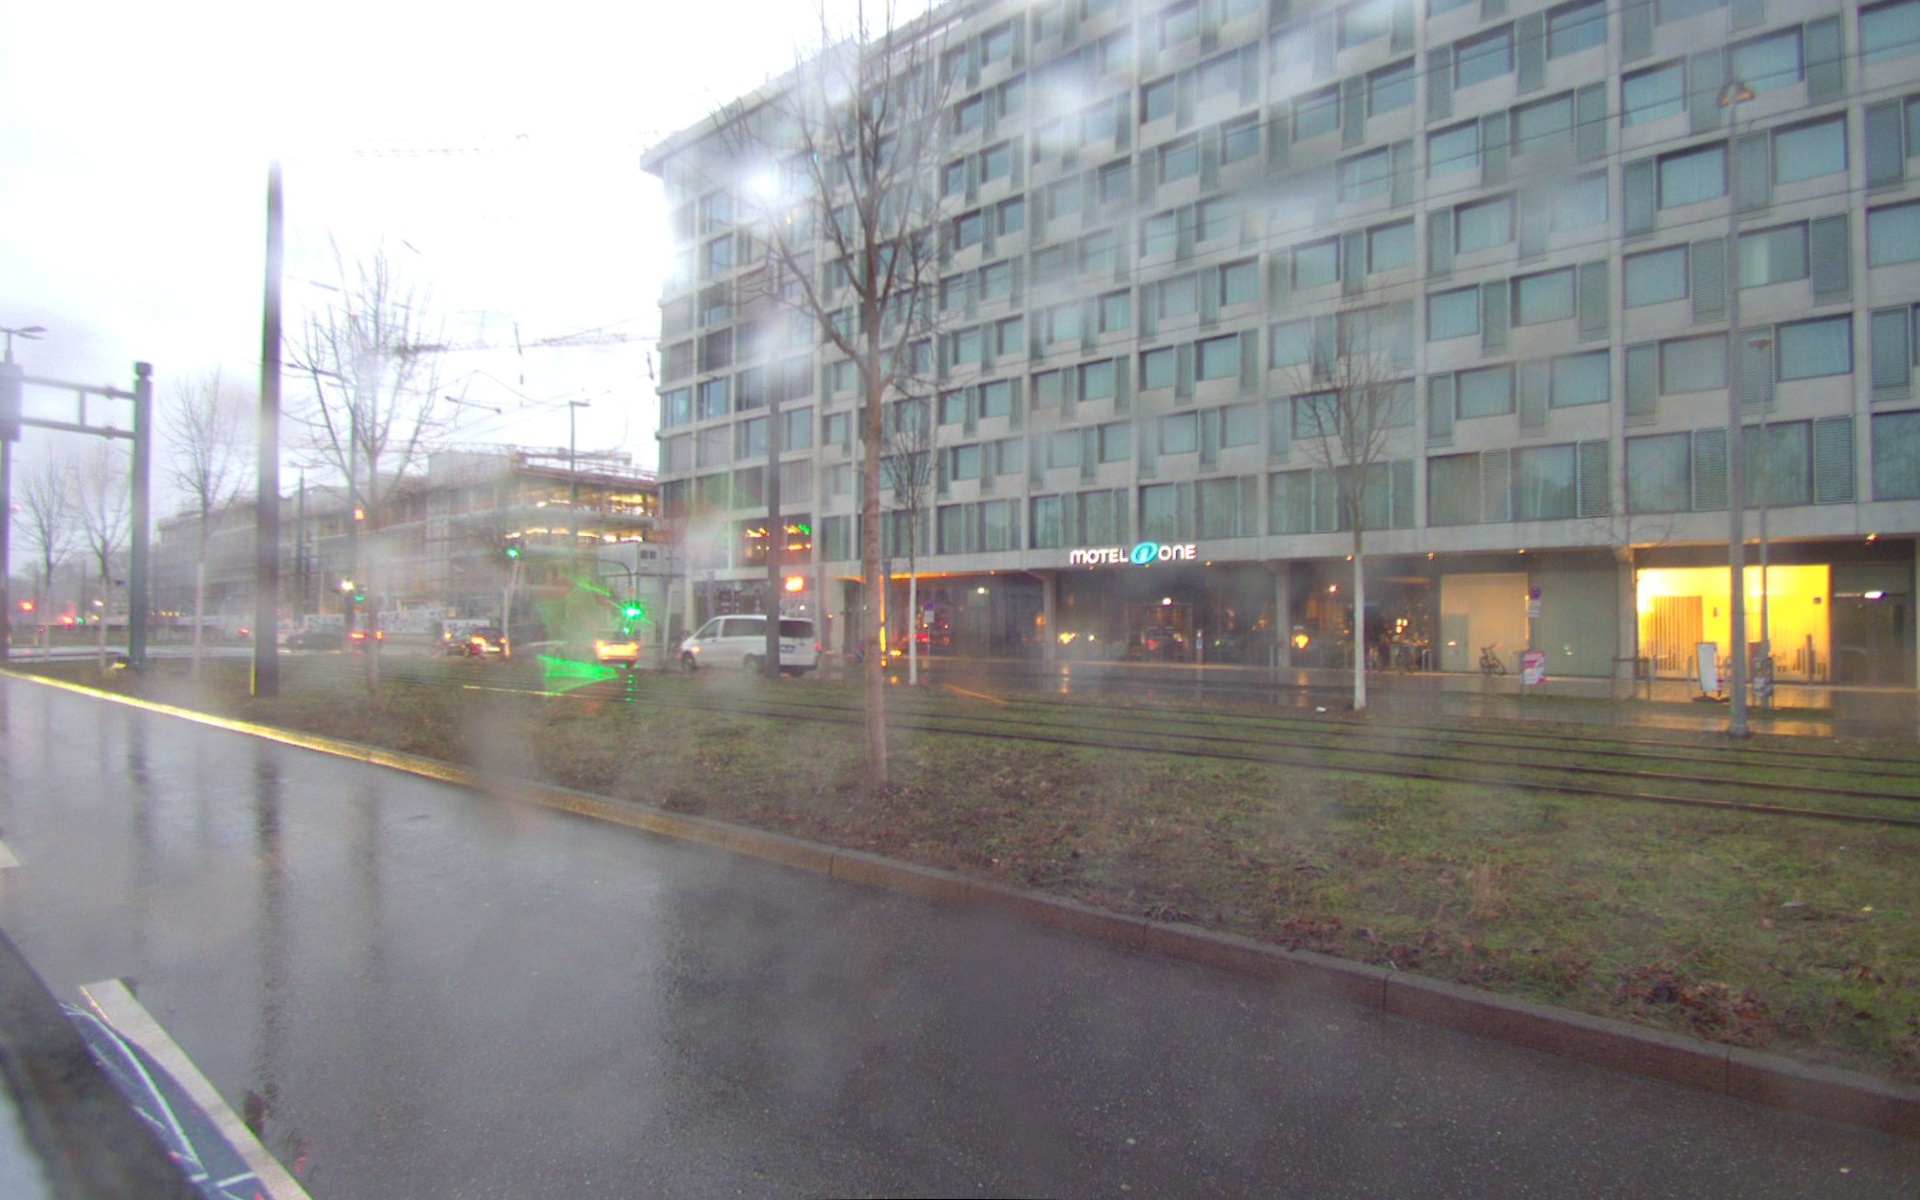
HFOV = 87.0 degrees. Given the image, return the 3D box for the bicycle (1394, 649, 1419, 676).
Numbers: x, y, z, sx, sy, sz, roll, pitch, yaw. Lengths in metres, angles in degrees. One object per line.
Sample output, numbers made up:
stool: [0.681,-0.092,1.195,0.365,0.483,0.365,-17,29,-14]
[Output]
bicycle: [15.798,2.205,35.799,0.465,0.860,1.332,-1,0,39]

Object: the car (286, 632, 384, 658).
car: [-31.313,2.251,50.765,3.952,1.284,1.813,0,-2,7]

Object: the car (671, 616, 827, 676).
car: [-6.510,1.368,30.962,5.041,1.682,2.060,-1,-3,41]

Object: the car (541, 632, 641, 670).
car: [-13.747,1.869,37.634,3.998,1.317,1.793,-1,-3,41]

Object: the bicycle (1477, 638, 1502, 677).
bicycle: [18.054,1.943,34.475,0.465,1.247,1.520,-1,0,39]

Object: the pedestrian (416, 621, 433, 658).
pedestrian: [-27.323,2.006,51.644,0.698,1.818,0.772,-1,0,-34]

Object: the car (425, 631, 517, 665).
car: [-21.478,2.074,44.398,4.254,1.411,2.084,-1,-3,40]

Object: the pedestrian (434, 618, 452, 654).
pedestrian: [-26.523,1.820,51.931,0.698,1.818,0.772,-1,0,-37]
